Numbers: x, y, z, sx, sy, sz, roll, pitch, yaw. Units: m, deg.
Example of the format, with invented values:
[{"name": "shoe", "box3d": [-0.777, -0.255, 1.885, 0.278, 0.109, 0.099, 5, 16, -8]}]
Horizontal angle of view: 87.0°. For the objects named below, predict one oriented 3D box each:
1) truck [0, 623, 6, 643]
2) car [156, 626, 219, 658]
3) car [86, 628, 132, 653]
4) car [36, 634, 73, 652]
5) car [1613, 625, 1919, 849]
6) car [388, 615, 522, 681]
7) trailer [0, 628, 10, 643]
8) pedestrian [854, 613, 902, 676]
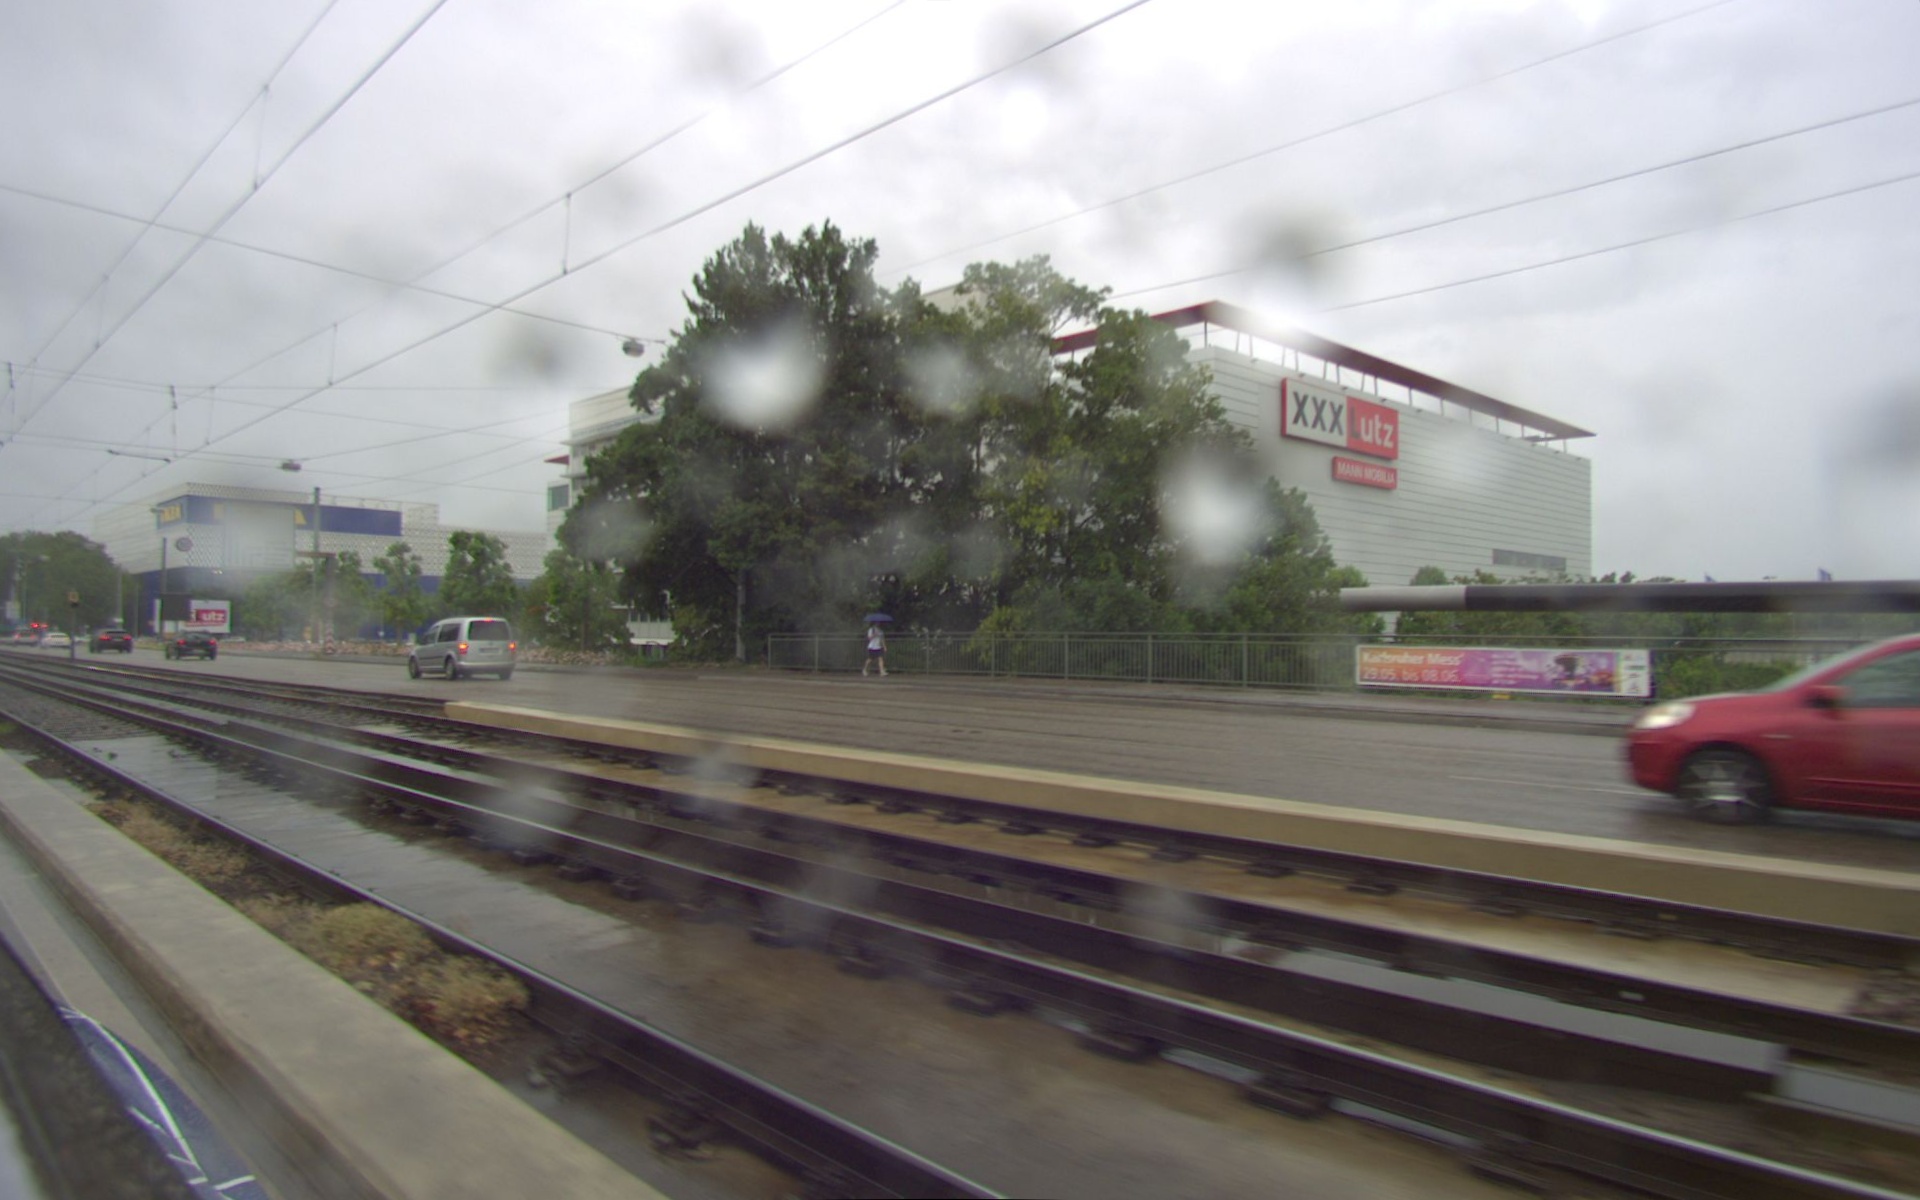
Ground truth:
[{"name": "truck", "box3d": [-120.552, 4.101, 125.783, 7.218, 2.476, 2.408, -2, -3, 43]}, {"name": "car", "box3d": [-40.913, 2.217, 53.591, 4.253, 1.630, 1.971, -2, -3, 43]}, {"name": "car", "box3d": [-60.005, 2.846, 71.321, 4.686, 1.695, 1.753, -1, -3, 41]}, {"name": "car", "box3d": [-80.437, 3.791, 89.863, 4.766, 1.595, 1.972, -2, -3, 43]}, {"name": "car", "box3d": [7.186, 0.930, 7.227, 4.013, 1.497, 1.639, -2, -2, 43]}, {"name": "car", "box3d": [-15.289, 1.397, 30.535, 4.656, 1.830, 1.973, -1, -2, 41]}, {"name": "trailer", "box3d": [-116.286, 4.270, 122.038, 3.835, 1.806, 2.097, -1, 0, 42]}, {"name": "pedestrian", "box3d": [-2.335, 1.260, 28.803, 1.120, 1.772, 0.842, -2, -3, 42]}]
